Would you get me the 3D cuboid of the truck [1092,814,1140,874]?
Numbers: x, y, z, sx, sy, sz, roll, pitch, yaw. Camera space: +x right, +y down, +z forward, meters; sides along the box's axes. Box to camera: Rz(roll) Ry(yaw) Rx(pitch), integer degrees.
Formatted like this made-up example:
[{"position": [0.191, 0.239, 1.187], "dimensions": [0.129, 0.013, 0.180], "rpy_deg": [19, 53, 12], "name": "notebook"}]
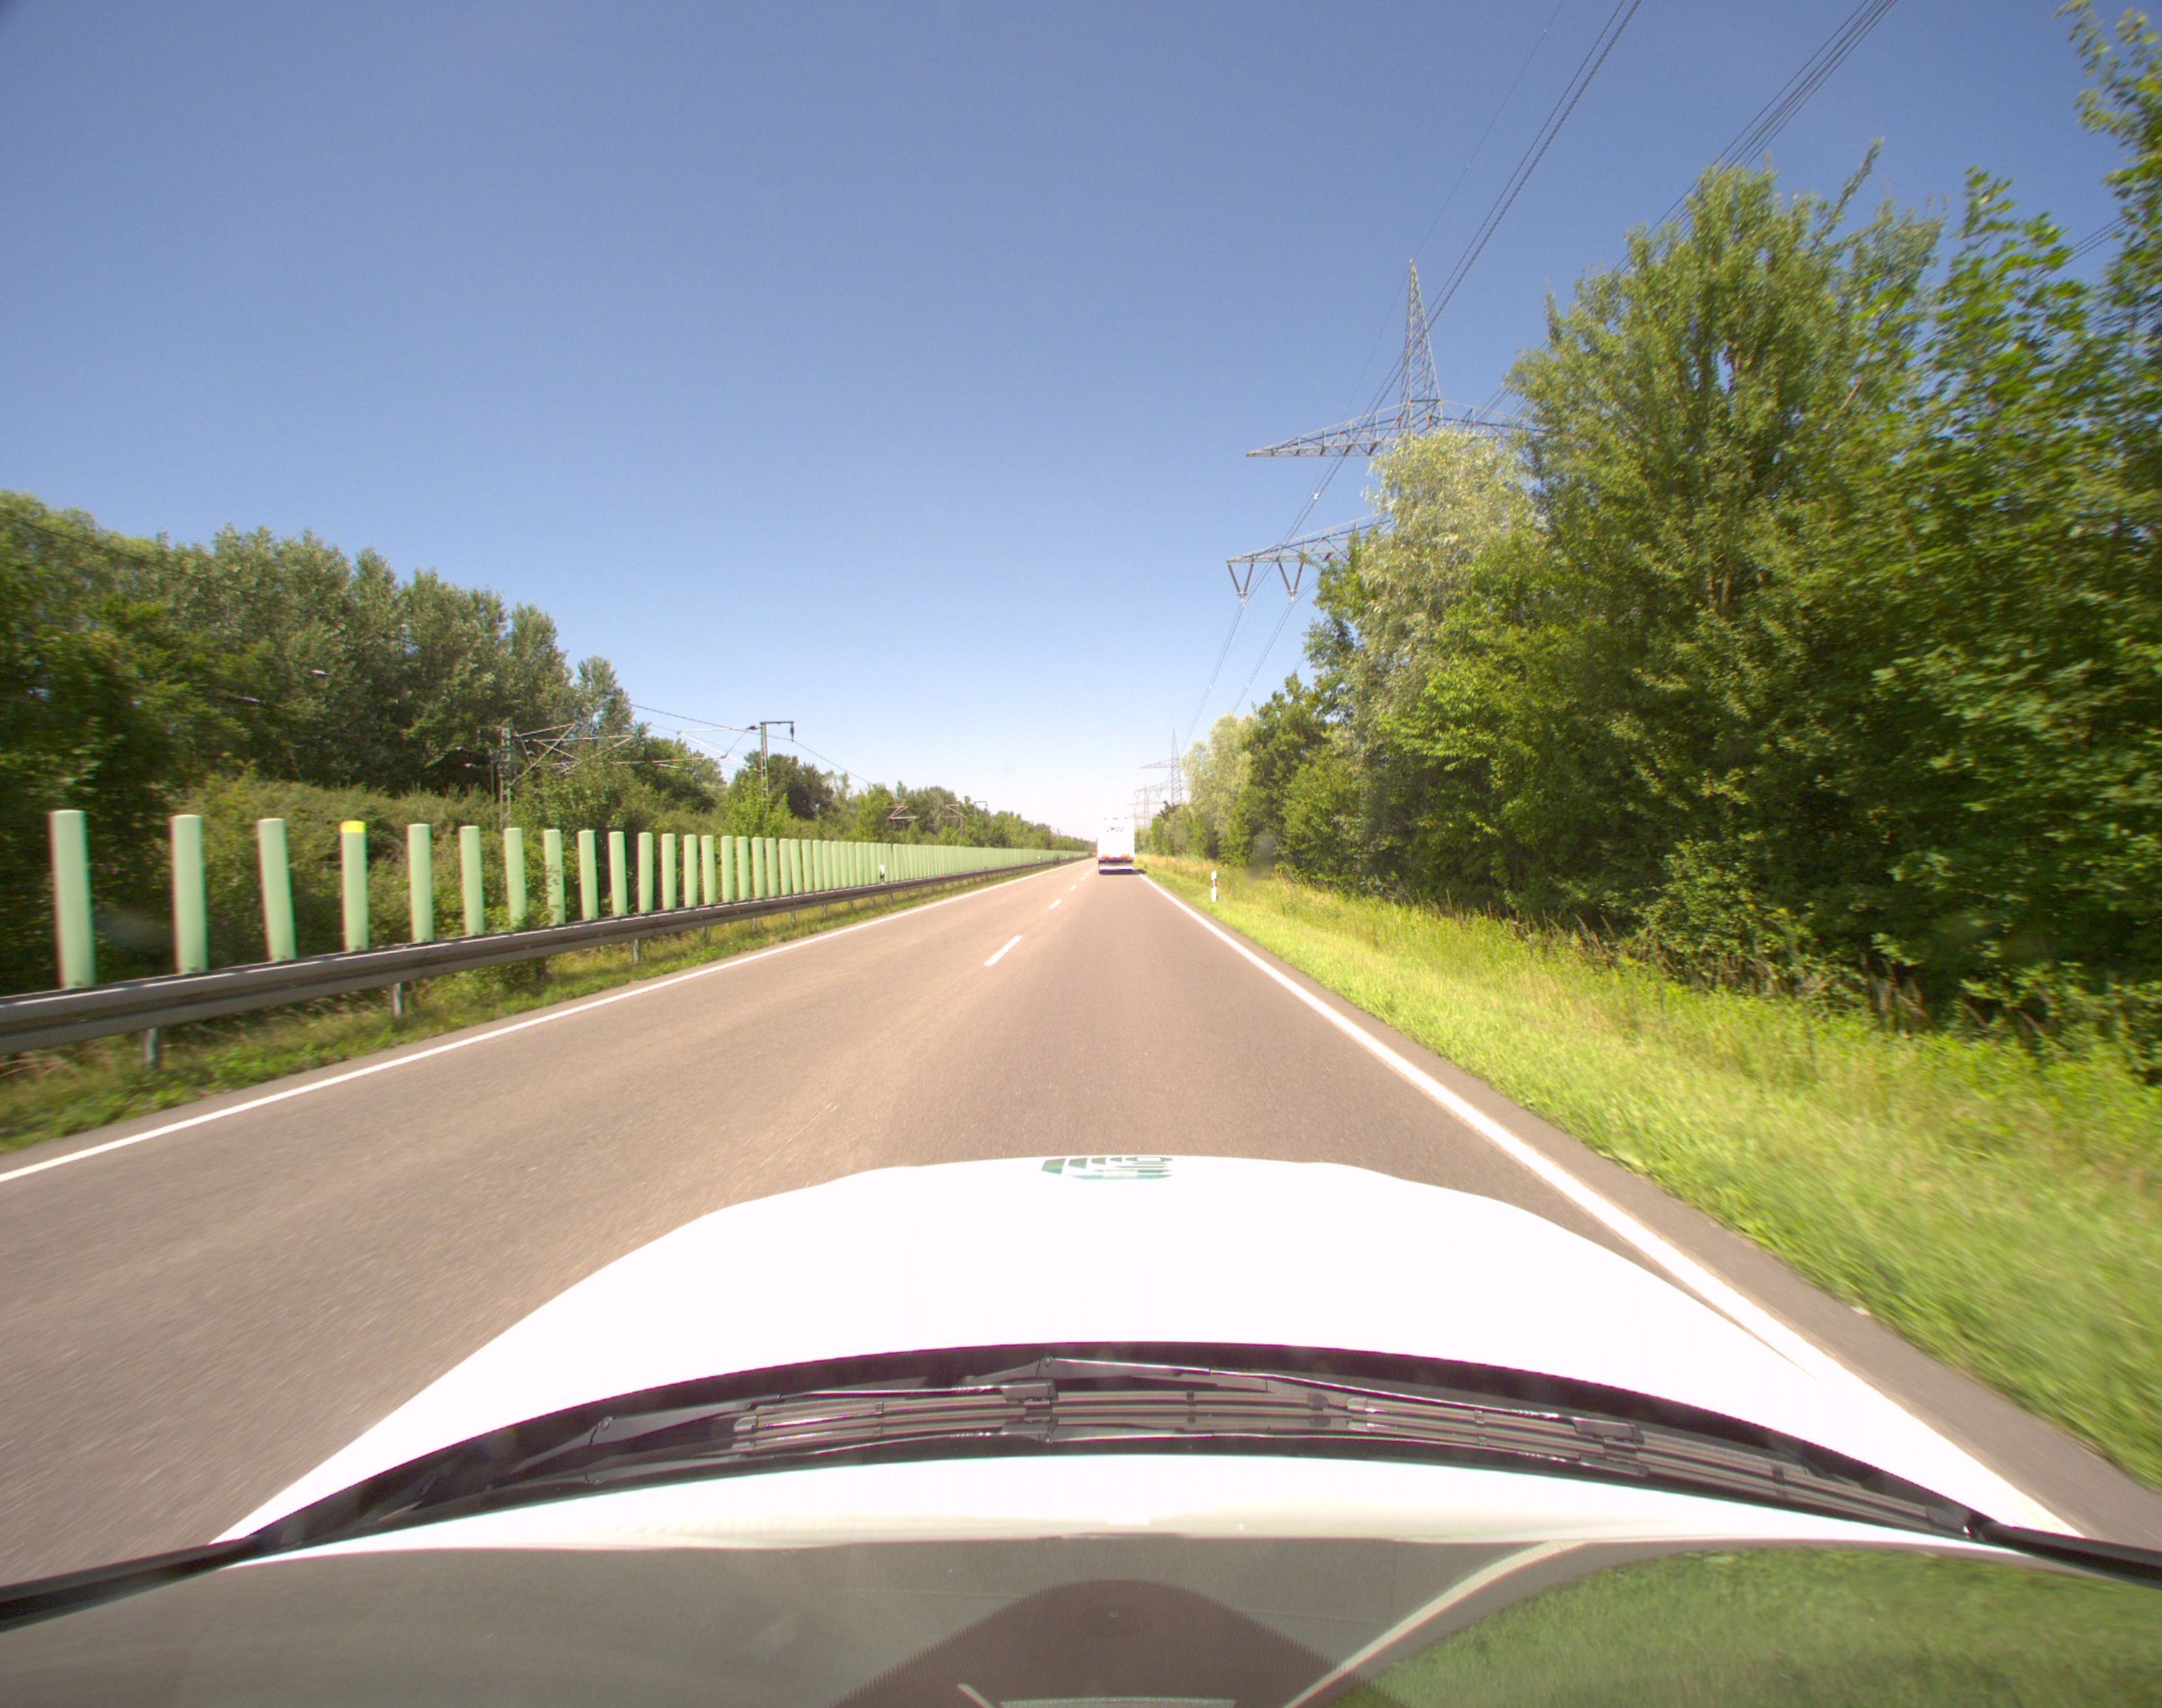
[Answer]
[{"position": [2.578, -0.706, 62.123], "dimensions": [3.180, 4.042, 12.011], "rpy_deg": [-1, 0, 2], "name": "truck"}]
